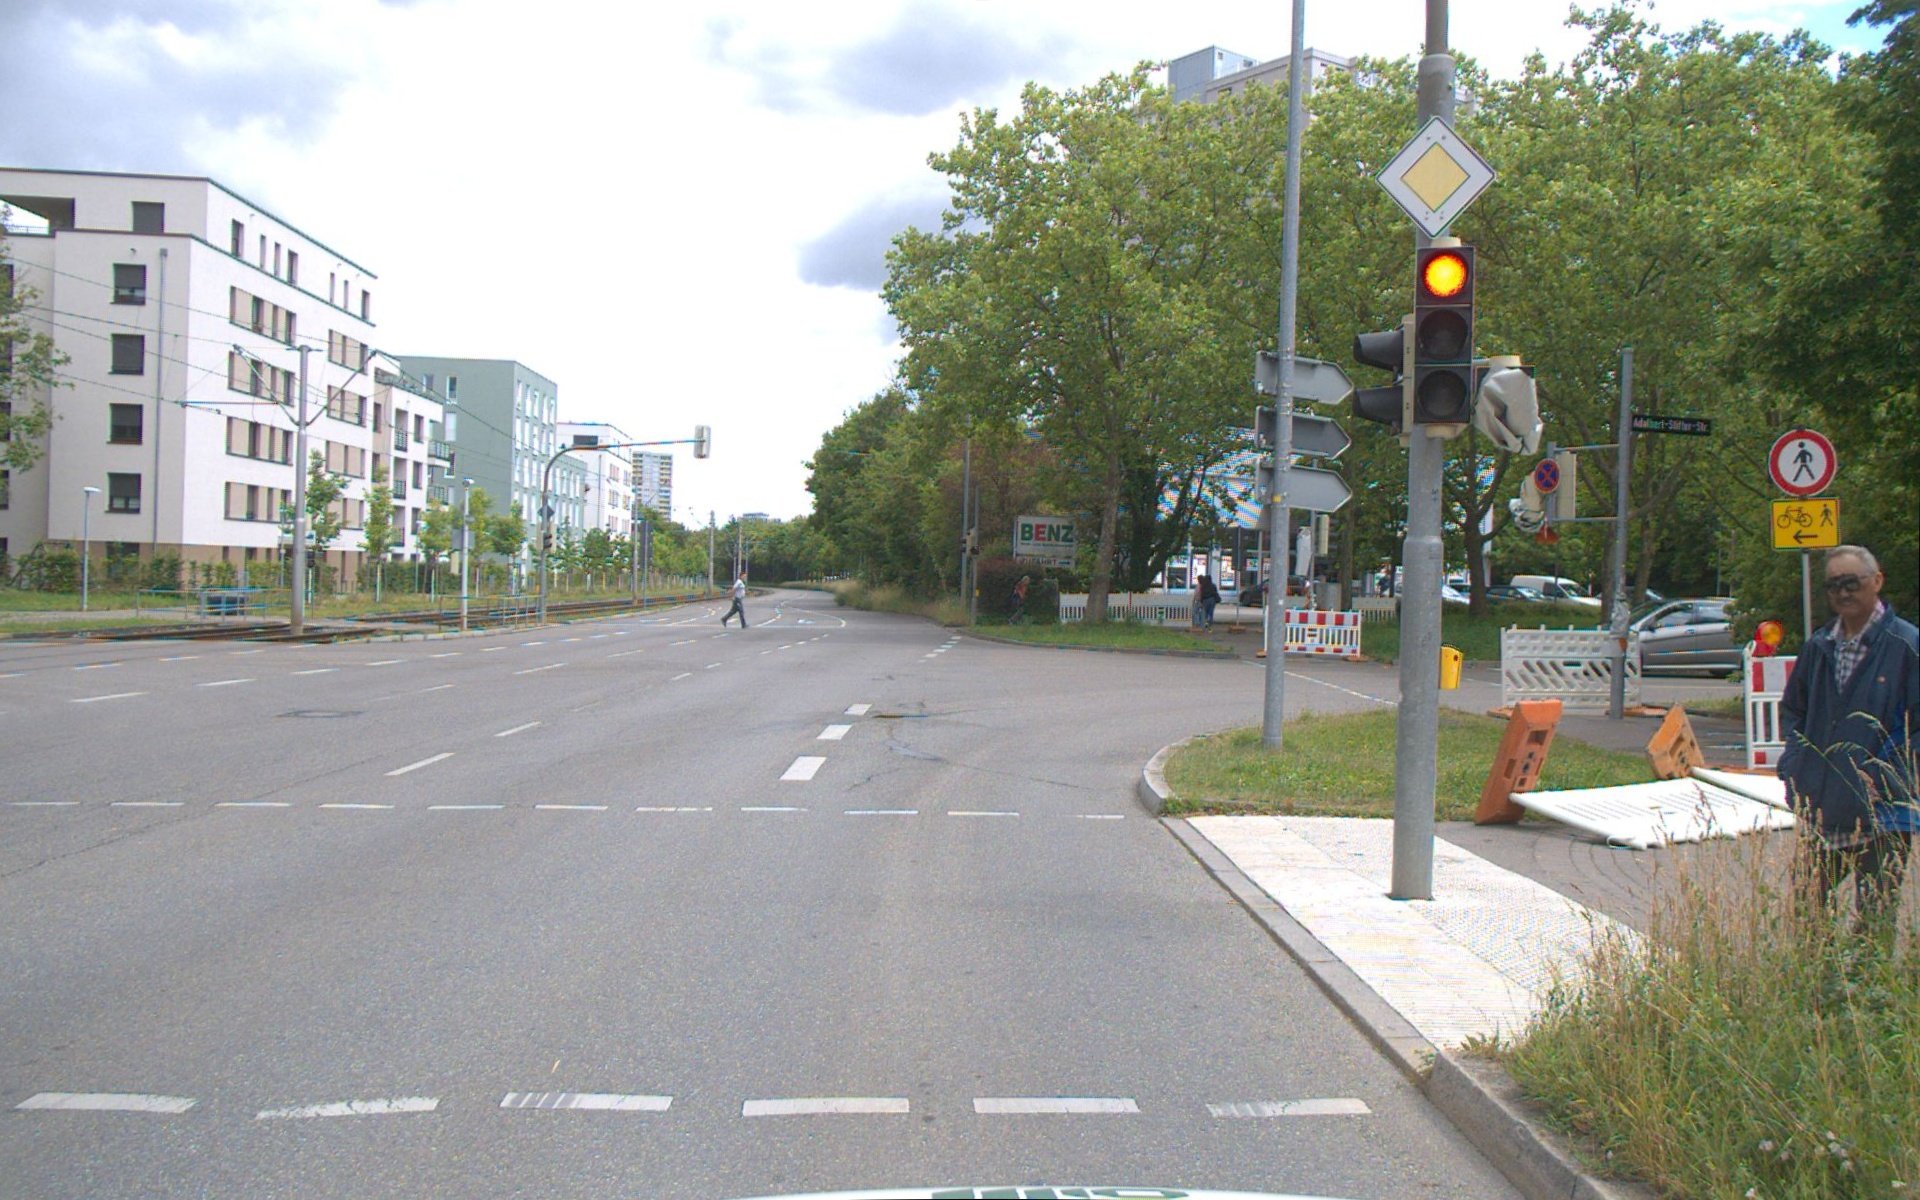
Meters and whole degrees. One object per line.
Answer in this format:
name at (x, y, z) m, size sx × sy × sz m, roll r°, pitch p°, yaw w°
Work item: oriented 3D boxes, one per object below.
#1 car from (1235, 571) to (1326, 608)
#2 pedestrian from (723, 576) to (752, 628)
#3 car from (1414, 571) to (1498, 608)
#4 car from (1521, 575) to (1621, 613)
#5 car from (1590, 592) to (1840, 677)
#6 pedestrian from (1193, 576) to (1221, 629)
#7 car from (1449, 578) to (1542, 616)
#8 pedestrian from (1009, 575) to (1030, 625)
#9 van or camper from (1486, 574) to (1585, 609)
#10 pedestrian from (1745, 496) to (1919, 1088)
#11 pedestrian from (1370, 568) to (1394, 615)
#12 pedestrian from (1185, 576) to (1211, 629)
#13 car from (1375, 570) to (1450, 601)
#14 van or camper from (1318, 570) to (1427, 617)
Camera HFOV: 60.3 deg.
car at (14.060, -0.449, 72.727) m, size 1.708 × 1.526 × 4.232 m, roll 1°, pitch 0°, yaw -27°
pedestrian at (-6.931, 0.061, 51.551) m, size 0.832 × 1.614 × 0.795 m, roll 1°, pitch -1°, yaw -6°
car at (24.050, -0.504, 80.252) m, size 1.650 × 1.663 × 3.783 m, roll 1°, pitch 1°, yaw -31°
car at (25.540, -0.253, 69.251) m, size 1.465 × 1.491 × 3.851 m, roll 1°, pitch 0°, yaw -31°
car at (15.385, 0.693, 33.860) m, size 4.307 × 1.614 × 1.772 m, roll 1°, pitch 0°, yaw 0°
pedestrian at (7.124, 0.068, 47.692) m, size 0.703 × 1.515 × 0.700 m, roll 1°, pitch -1°, yaw 3°
car at (21.096, -0.123, 65.253) m, size 1.464 × 1.429 × 3.375 m, roll 1°, pitch 0°, yaw -30°
pedestrian at (1.862, -0.002, 51.750) m, size 0.639 × 1.565 × 0.773 m, roll 1°, pitch -1°, yaw 2°
van or camper at (23.594, -0.343, 67.884) m, size 1.499 × 1.380 × 3.732 m, roll 1°, pitch 0°, yaw -33°
pedestrian at (3.051, 0.571, 5.401) m, size 0.713 × 1.770 × 0.953 m, roll 1°, pitch 0°, yaw 35°
pedestrian at (18.553, -0.387, 72.751) m, size 0.789 × 2.037 × 0.852 m, roll 1°, pitch -1°, yaw -5°
pedestrian at (6.951, 0.076, 48.393) m, size 0.671 × 1.515 × 0.700 m, roll 1°, pitch -1°, yaw 2°
car at (21.466, -0.692, 78.553) m, size 1.465 × 1.429 × 3.372 m, roll 1°, pitch 0°, yaw -31°
van or camper at (15.490, -0.259, 62.232) m, size 1.819 × 1.713 × 3.964 m, roll 0°, pitch 1°, yaw -28°
